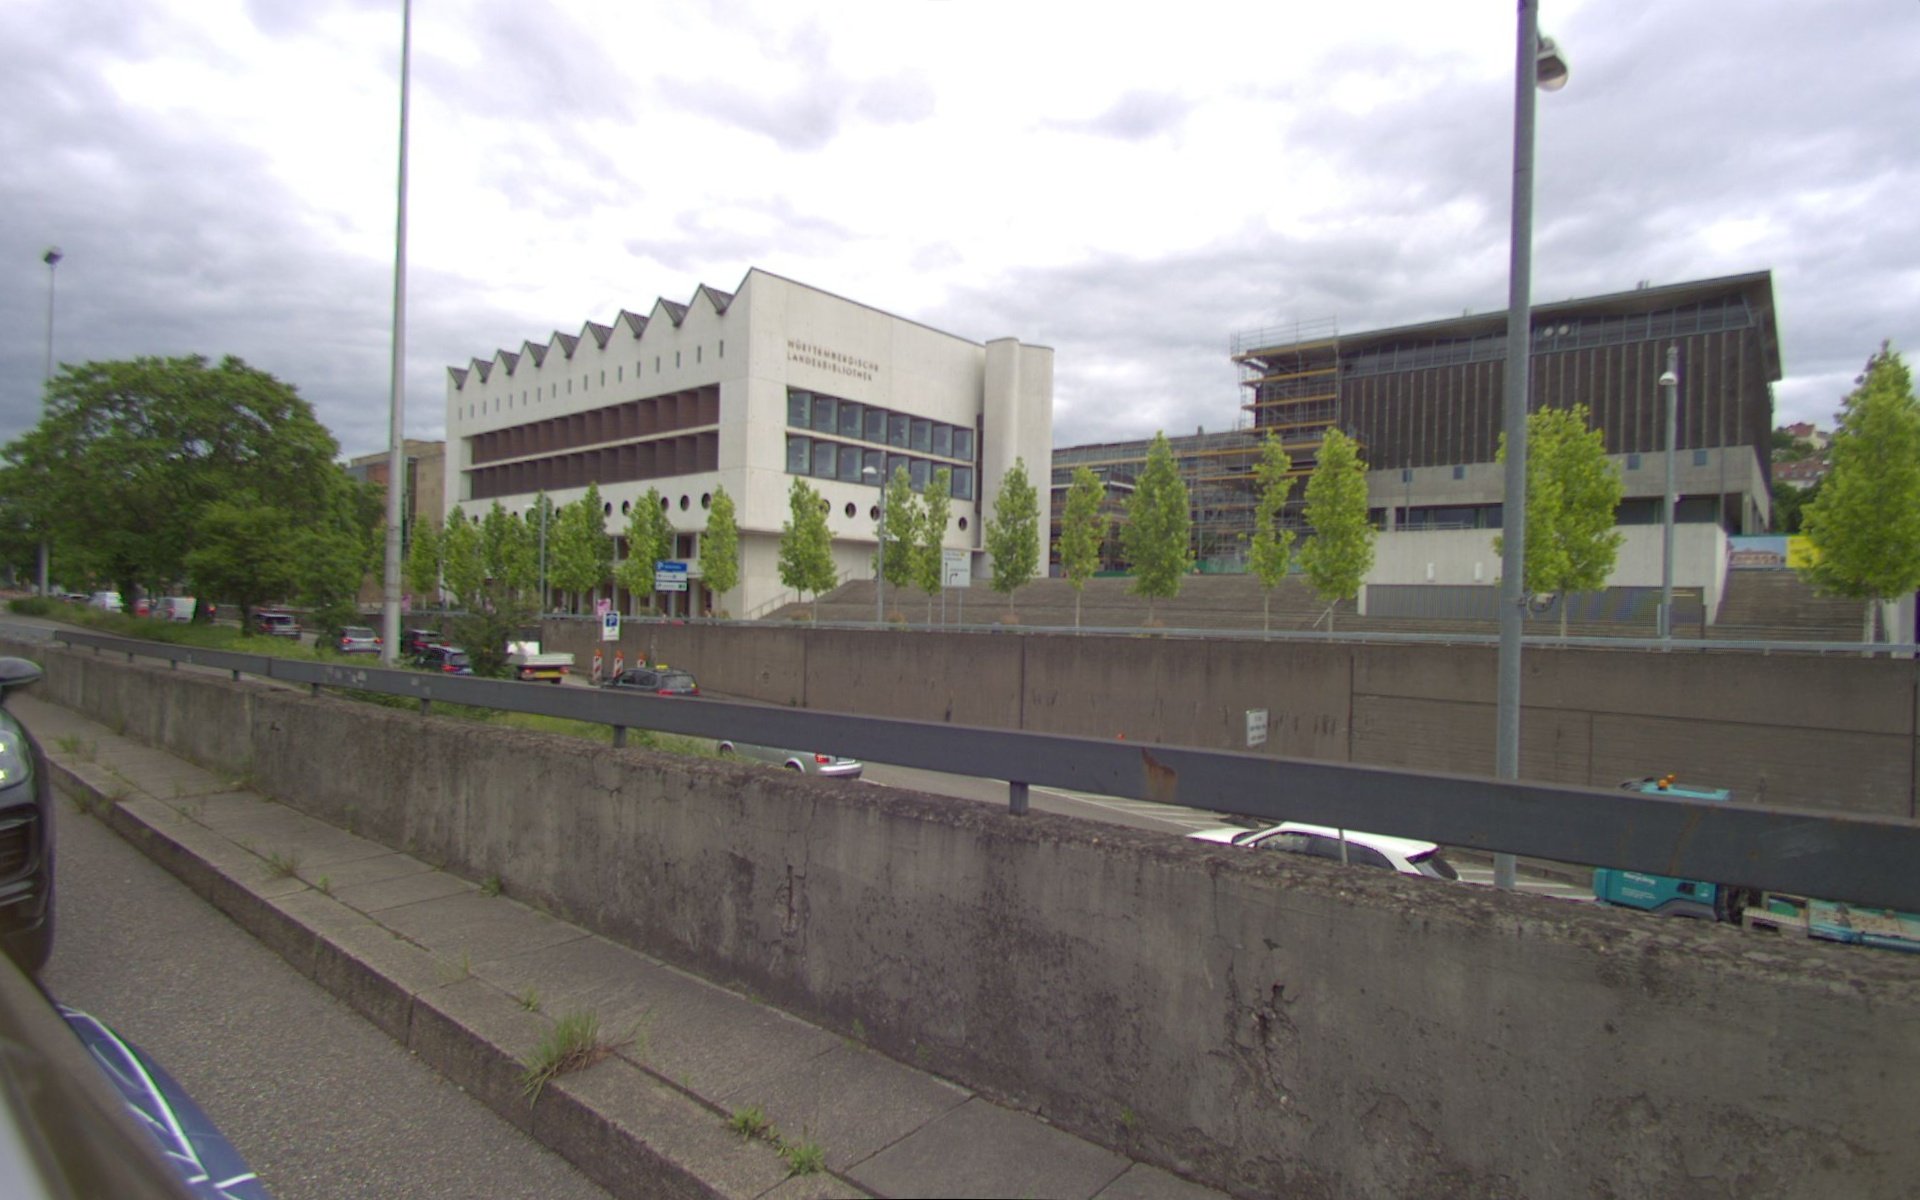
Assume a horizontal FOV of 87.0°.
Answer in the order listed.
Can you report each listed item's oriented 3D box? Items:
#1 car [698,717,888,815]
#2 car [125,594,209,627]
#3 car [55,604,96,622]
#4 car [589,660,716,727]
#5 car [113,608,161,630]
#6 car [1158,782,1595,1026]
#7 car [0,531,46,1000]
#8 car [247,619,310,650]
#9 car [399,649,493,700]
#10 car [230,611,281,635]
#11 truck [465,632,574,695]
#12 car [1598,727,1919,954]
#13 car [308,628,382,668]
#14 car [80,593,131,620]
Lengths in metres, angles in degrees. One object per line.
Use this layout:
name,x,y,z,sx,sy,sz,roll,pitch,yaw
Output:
car,-4.277,4.044,25.427,4.837,1.582,2.157,1,2,41
car,-50.371,0.679,64.288,5.088,2.029,2.206,-1,-1,26
car,-74.369,1.069,85.087,3.998,1.409,1.973,0,-4,41
car,-10.721,3.171,35.121,4.393,1.780,2.140,4,0,41
car,-57.138,1.341,70.249,3.999,1.497,1.972,-1,-2,42
car,6.398,4.472,16.063,5.932,1.987,2.593,1,2,41
car,-5.551,0.560,4.487,4.733,1.602,1.879,0,0,44
car,-36.778,1.833,54.585,3.999,1.560,1.855,0,-1,42
car,-19.681,2.786,38.686,4.167,1.582,1.792,1,2,41
car,-55.882,1.827,80.255,4.732,1.869,2.152,-1,-2,40
truck,-18.463,2.576,42.261,5.378,2.419,2.159,-1,-1,42
car,12.871,3.418,14.551,5.932,2.328,2.593,1,2,41
car,-28.340,2.175,46.624,3.903,1.553,1.696,1,2,39
car,-63.906,0.470,75.665,5.247,1.651,1.973,2,-5,41
